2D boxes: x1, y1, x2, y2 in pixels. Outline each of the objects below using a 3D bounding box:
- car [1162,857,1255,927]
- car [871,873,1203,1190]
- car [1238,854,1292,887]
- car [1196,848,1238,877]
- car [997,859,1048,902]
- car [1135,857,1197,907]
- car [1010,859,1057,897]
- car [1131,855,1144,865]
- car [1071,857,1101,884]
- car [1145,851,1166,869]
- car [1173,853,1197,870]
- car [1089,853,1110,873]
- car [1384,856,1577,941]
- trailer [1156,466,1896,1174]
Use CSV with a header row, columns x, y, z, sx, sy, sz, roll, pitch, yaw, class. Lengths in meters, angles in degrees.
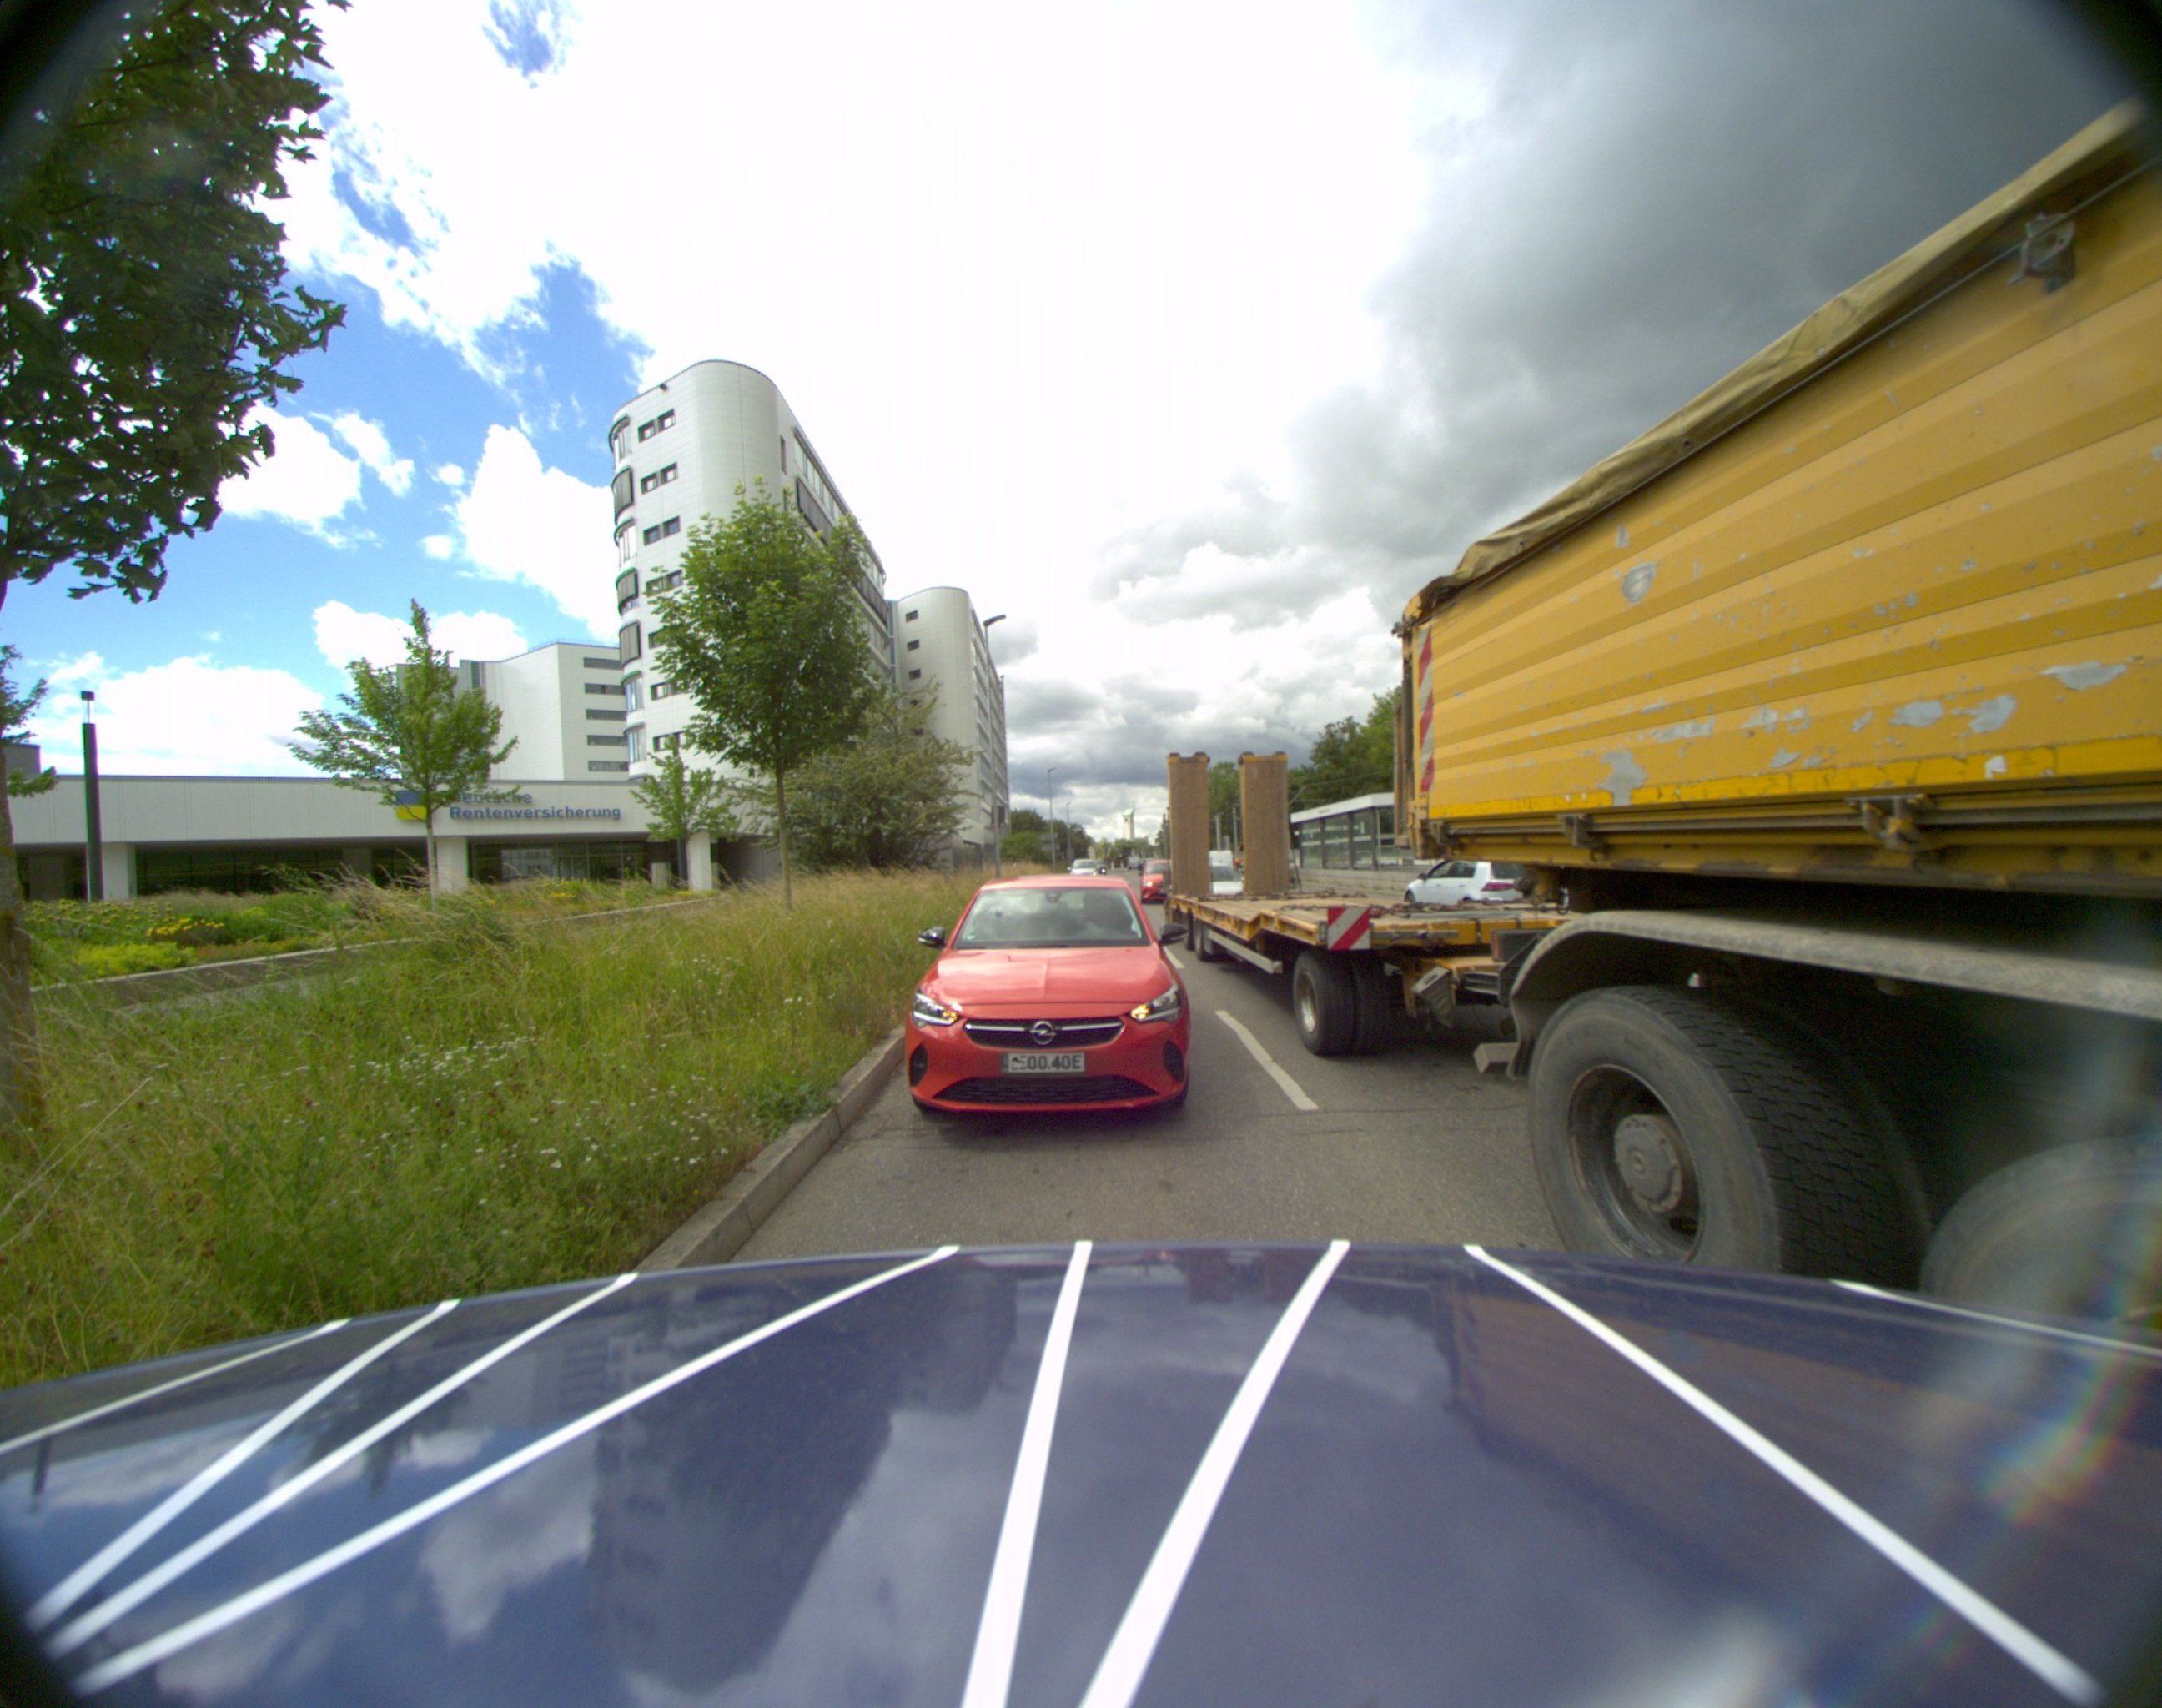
x,y,z,sx,sy,sz,roll,pitch,yaw,class
3.113,0.875,19.269,1.692,1.471,3.999,-2,1,1,car
-0.204,0.990,6.005,1.692,1.471,3.999,-2,1,1,car
8.635,0.757,35.941,1.705,1.449,3.566,-2,0,1,car
8.755,0.532,49.238,1.887,1.761,4.864,-2,0,1,car
-2.292,1.008,30.652,1.738,1.565,3.445,-2,0,0,car
2.860,0.912,26.173,1.692,1.471,3.999,-2,1,1,car
-2.139,1.055,35.426,1.850,1.565,4.623,-2,0,0,car
8.739,0.906,118.008,1.770,1.489,3.554,-2,0,1,car
0.348,1.007,47.001,1.738,1.565,3.446,-2,0,2,car
8.709,0.691,88.798,1.998,2.002,4.000,-2,0,1,car
9.326,0.672,68.292,1.644,1.489,3.554,-2,0,1,car
1.838,0.900,77.642,1.998,2.002,4.000,-2,0,1,car
7.905,0.798,15.555,1.766,1.432,4.278,-2,0,1,car
2.808,-0.162,9.325,2.713,3.501,10.914,-2,0,1,trailer
